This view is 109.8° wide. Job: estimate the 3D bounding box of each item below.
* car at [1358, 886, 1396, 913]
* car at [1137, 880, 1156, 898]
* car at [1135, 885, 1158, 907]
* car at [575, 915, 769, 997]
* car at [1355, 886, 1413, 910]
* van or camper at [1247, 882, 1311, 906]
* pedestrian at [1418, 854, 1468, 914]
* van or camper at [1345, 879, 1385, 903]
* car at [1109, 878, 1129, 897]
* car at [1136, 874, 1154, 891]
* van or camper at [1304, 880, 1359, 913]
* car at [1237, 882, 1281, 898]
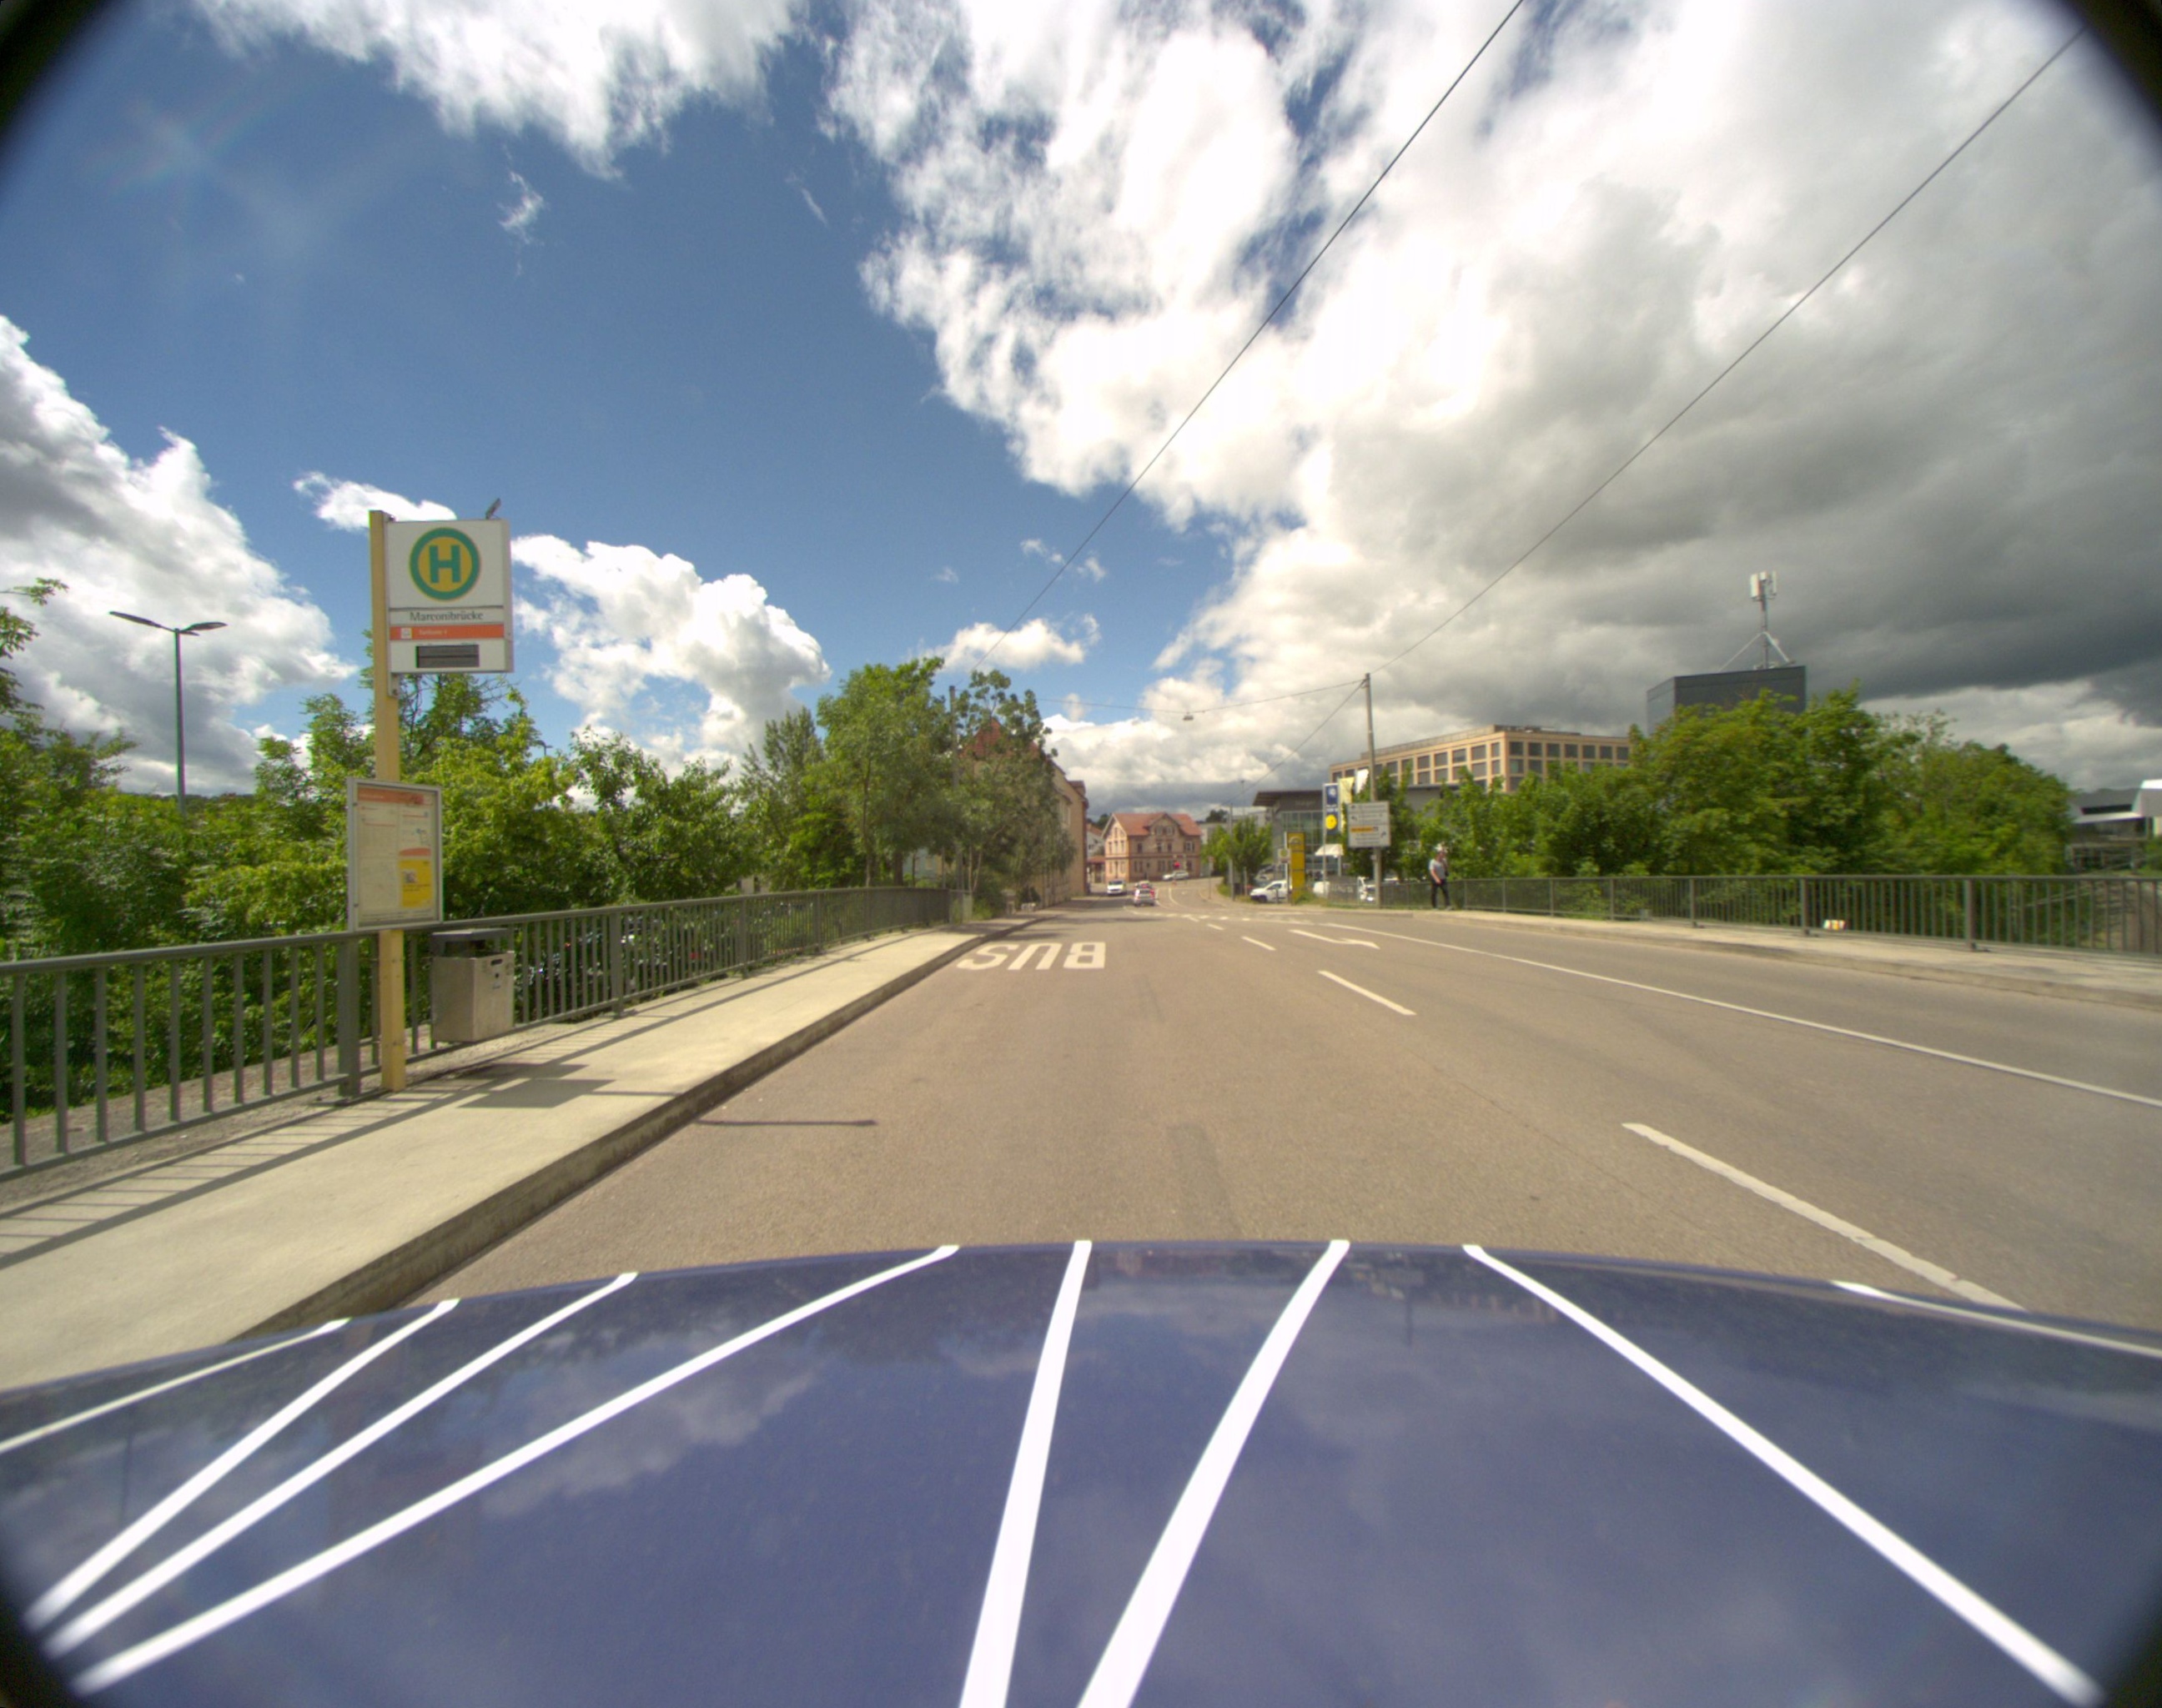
[{"bbox_3d":[18.512,2.820,47.428,1.813,1.458,4.007,-2,-1,27],"label":"car"},{"bbox_3d":[6.757,3.596,78.385,1.722,1.572,4.253,-4,0,7],"label":"car"},{"bbox_3d":[5.623,3.585,65.611,1.723,1.572,4.001,-4,0,2],"label":"car"},{"bbox_3d":[-10.888,2.639,20.465,4.356,1.659,1.868,-2,-1,-29],"label":"car"},{"bbox_3d":[21.296,3.080,53.391,4.007,1.458,1.814,-1,-1,-34],"label":"car"},{"bbox_3d":[15.625,3.141,60.158,4.677,1.739,2.002,-1,-2,8],"label":"van or camper"},{"bbox_3d":[11.442,0.955,24.058,0.998,1.825,1.037,-3,-2,3],"label":"pedestrian"},{"bbox_3d":[25.165,3.293,67.595,1.998,2.001,4.688,-1,-2,3],"label":"van or camper"},{"bbox_3d":[4.521,3.970,90.535,1.998,1.981,4.992,-4,0,6],"label":"car"},{"bbox_3d":[7.124,3.195,84.527,1.722,1.572,4.320,-6,-1,7],"label":"car"},{"bbox_3d":[16.812,2.828,50.807,1.985,1.951,4.969,-3,-2,36],"label":"van or camper"},{"bbox_3d":[17.488,3.511,74.762,3.857,1.488,1.813,-1,-1,3],"label":"car"}]
